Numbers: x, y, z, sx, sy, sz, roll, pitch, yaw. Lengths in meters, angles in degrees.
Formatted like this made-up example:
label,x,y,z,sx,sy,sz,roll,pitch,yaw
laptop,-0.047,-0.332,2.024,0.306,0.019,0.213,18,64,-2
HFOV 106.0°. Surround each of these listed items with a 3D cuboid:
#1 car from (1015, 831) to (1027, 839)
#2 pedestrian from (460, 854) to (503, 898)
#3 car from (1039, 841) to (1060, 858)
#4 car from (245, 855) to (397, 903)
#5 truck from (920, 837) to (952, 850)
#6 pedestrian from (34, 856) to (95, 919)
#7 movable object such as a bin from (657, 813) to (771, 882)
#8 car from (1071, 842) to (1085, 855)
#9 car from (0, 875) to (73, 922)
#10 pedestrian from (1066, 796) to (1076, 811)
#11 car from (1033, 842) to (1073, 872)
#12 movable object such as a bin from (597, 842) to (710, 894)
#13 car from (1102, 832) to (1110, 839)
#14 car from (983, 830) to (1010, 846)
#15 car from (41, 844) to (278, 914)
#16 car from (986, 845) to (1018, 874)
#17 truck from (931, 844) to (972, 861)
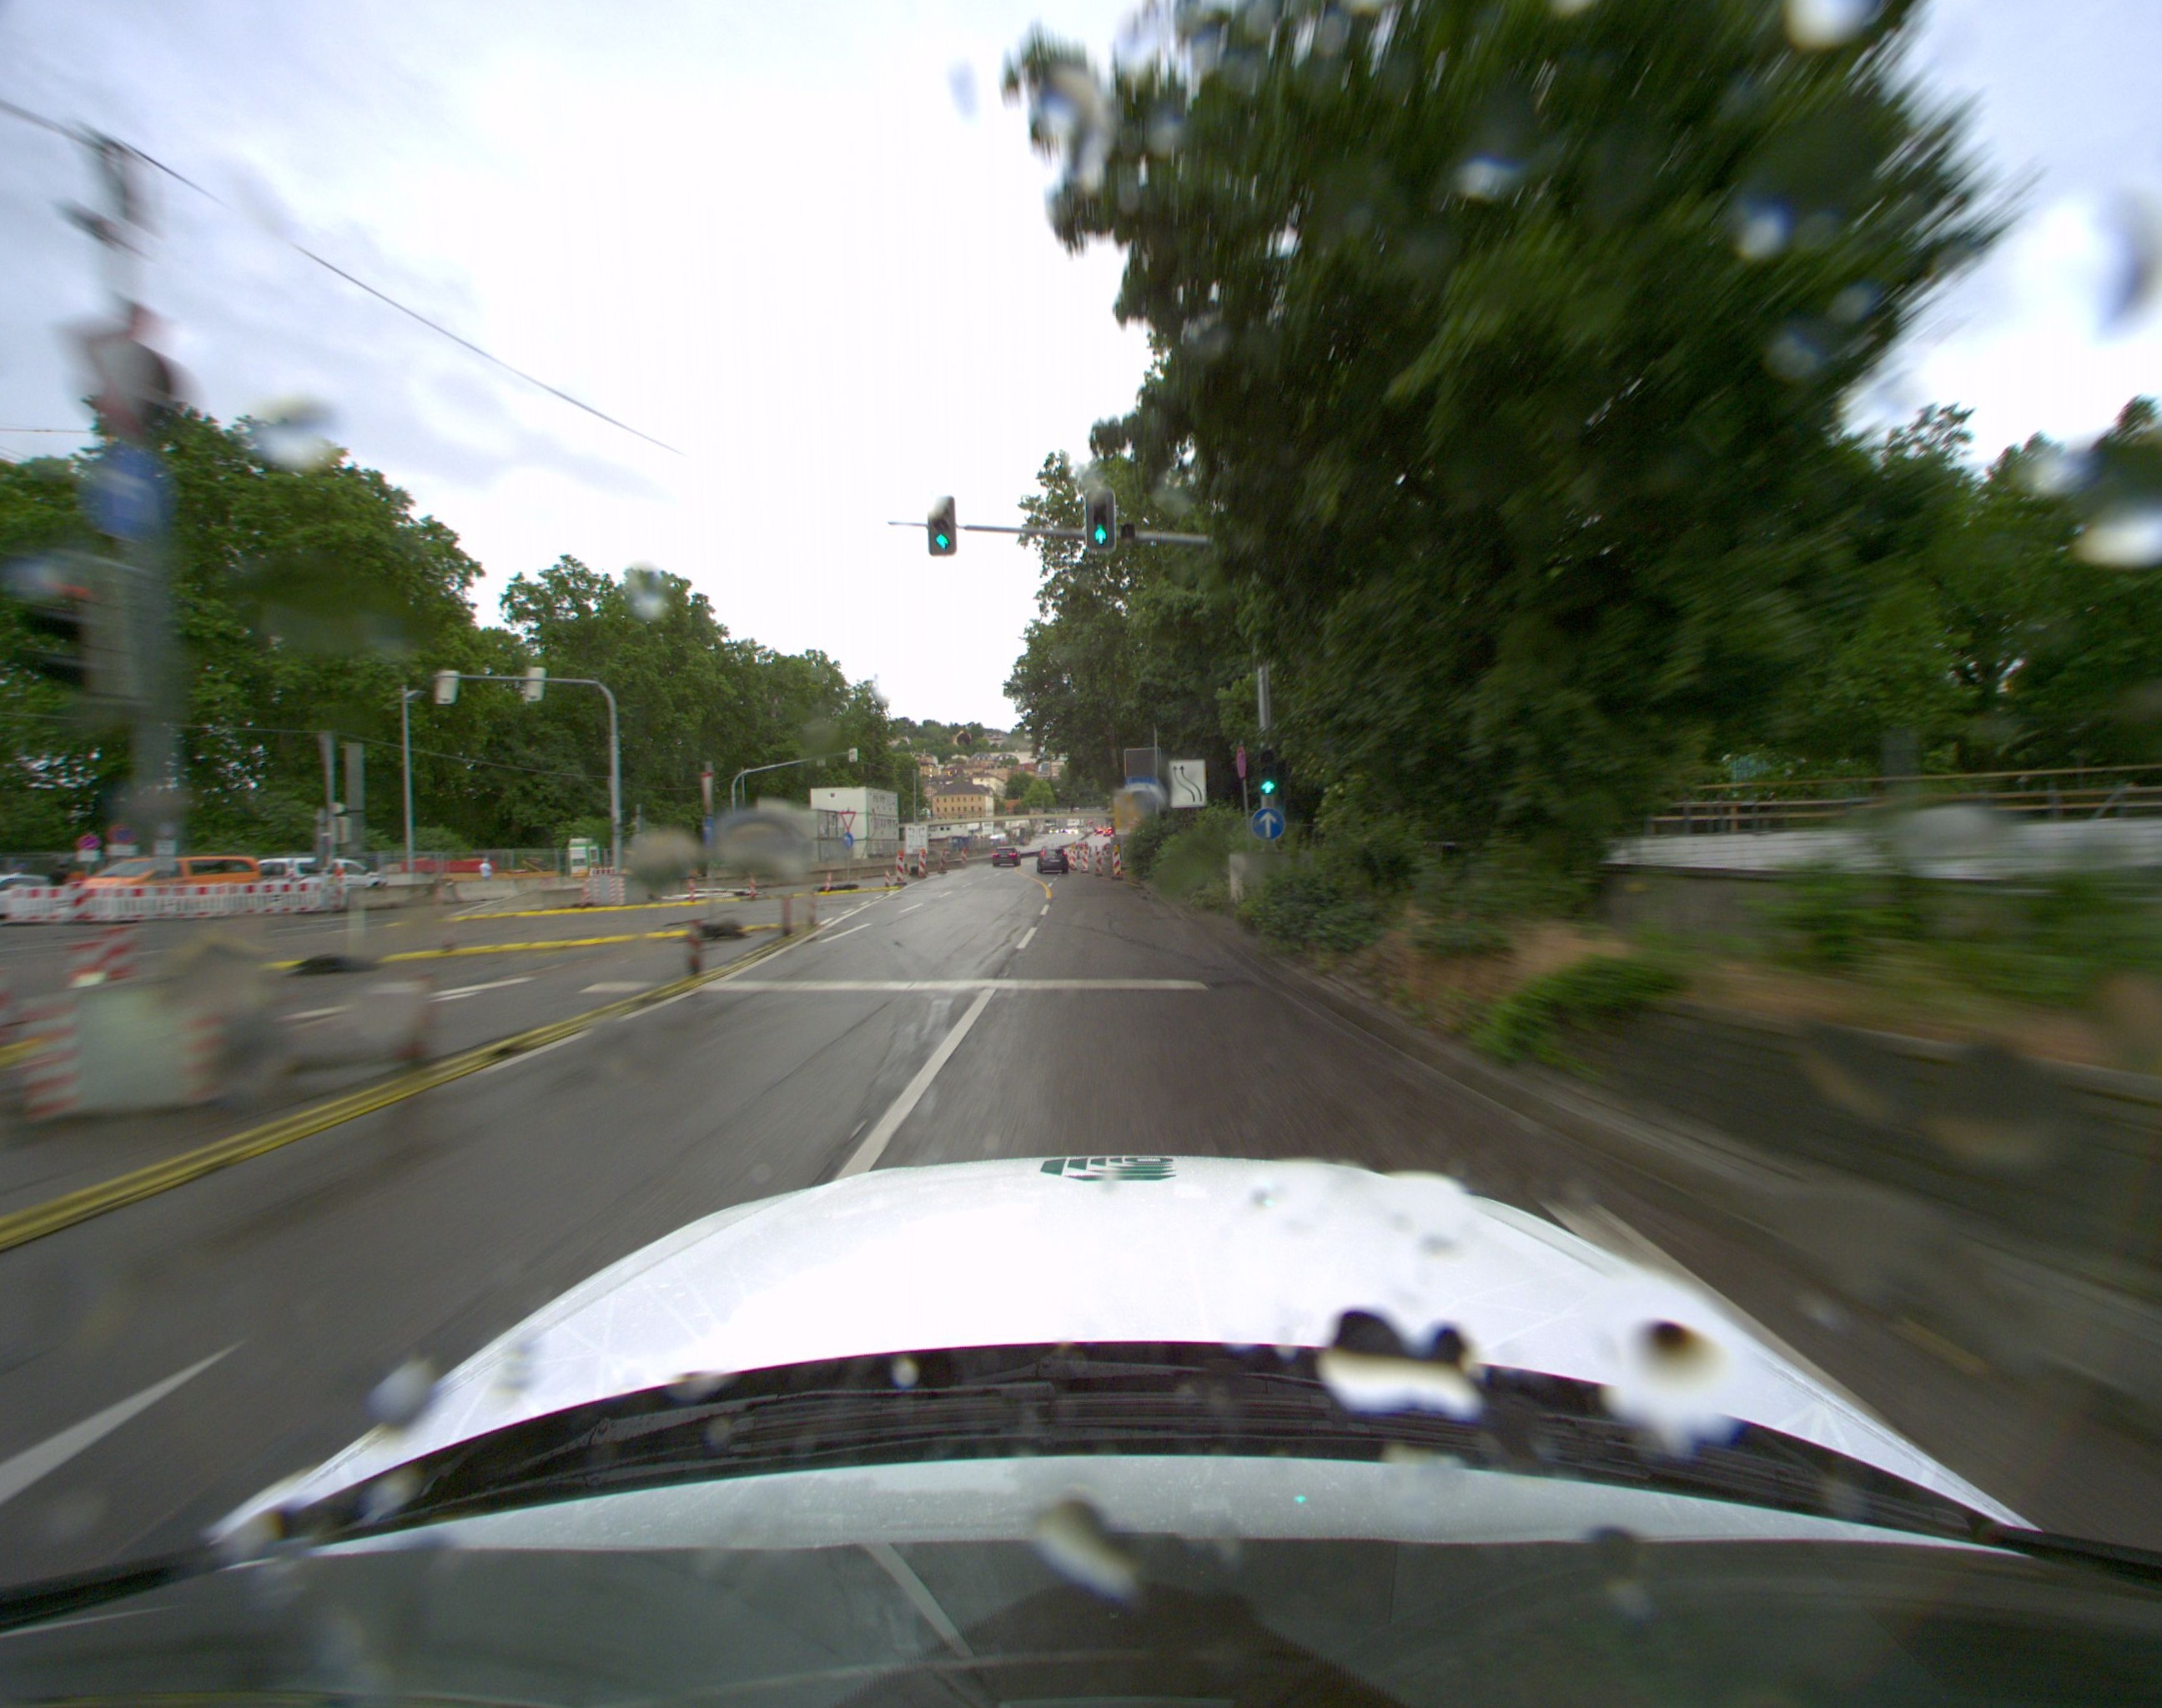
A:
label,x,y,z,sx,sy,sz,roll,pitch,yaw
car,-13.814,-4.416,188.610,1.983,1.621,4.010,-2,3,7
pedestrian,-28.407,1.045,38.605,1.179,2.013,1.170,-1,1,-9
car,-3.864,-0.580,101.546,1.983,2.013,4.007,-2,1,6
car,-32.336,0.994,34.903,1.838,1.761,4.799,-3,1,1
truck,-25.305,-1.853,142.379,5.232,2.013,2.163,-3,1,-1
pedestrian,-33.735,1.093,27.038,0.918,2.013,0.737,-2,1,-5
movable object such as a bin,-28.552,-0.536,64.025,4.732,4.802,8.363,-3,1,2
car,-0.505,-0.934,134.922,2.043,2.013,4.003,-3,1,2
car,-34.830,1.483,25.639,1.758,1.415,3.820,-3,1,-10
pedestrian,-1.517,-7.486,120.578,1.140,2.060,1.063,-3,0,11
car,-1.631,0.137,46.447,1.811,1.526,3.990,-3,1,-8
movable object such as a bin,-28.670,0.822,55.014,3.917,3.128,6.391,-3,1,2
car,6.520,-4.750,209.786,1.986,1.869,4.002,-3,1,2
car,-16.264,-3.054,157.264,1.974,2.875,6.091,-2,1,30
car,-32.272,0.771,28.880,1.988,2.100,5.579,-4,1,-2
car,-5.961,0.386,61.863,2.012,2.013,3.997,-3,1,-2
truck,-21.143,-0.322,133.533,6.264,2.452,2.690,-3,1,-4
